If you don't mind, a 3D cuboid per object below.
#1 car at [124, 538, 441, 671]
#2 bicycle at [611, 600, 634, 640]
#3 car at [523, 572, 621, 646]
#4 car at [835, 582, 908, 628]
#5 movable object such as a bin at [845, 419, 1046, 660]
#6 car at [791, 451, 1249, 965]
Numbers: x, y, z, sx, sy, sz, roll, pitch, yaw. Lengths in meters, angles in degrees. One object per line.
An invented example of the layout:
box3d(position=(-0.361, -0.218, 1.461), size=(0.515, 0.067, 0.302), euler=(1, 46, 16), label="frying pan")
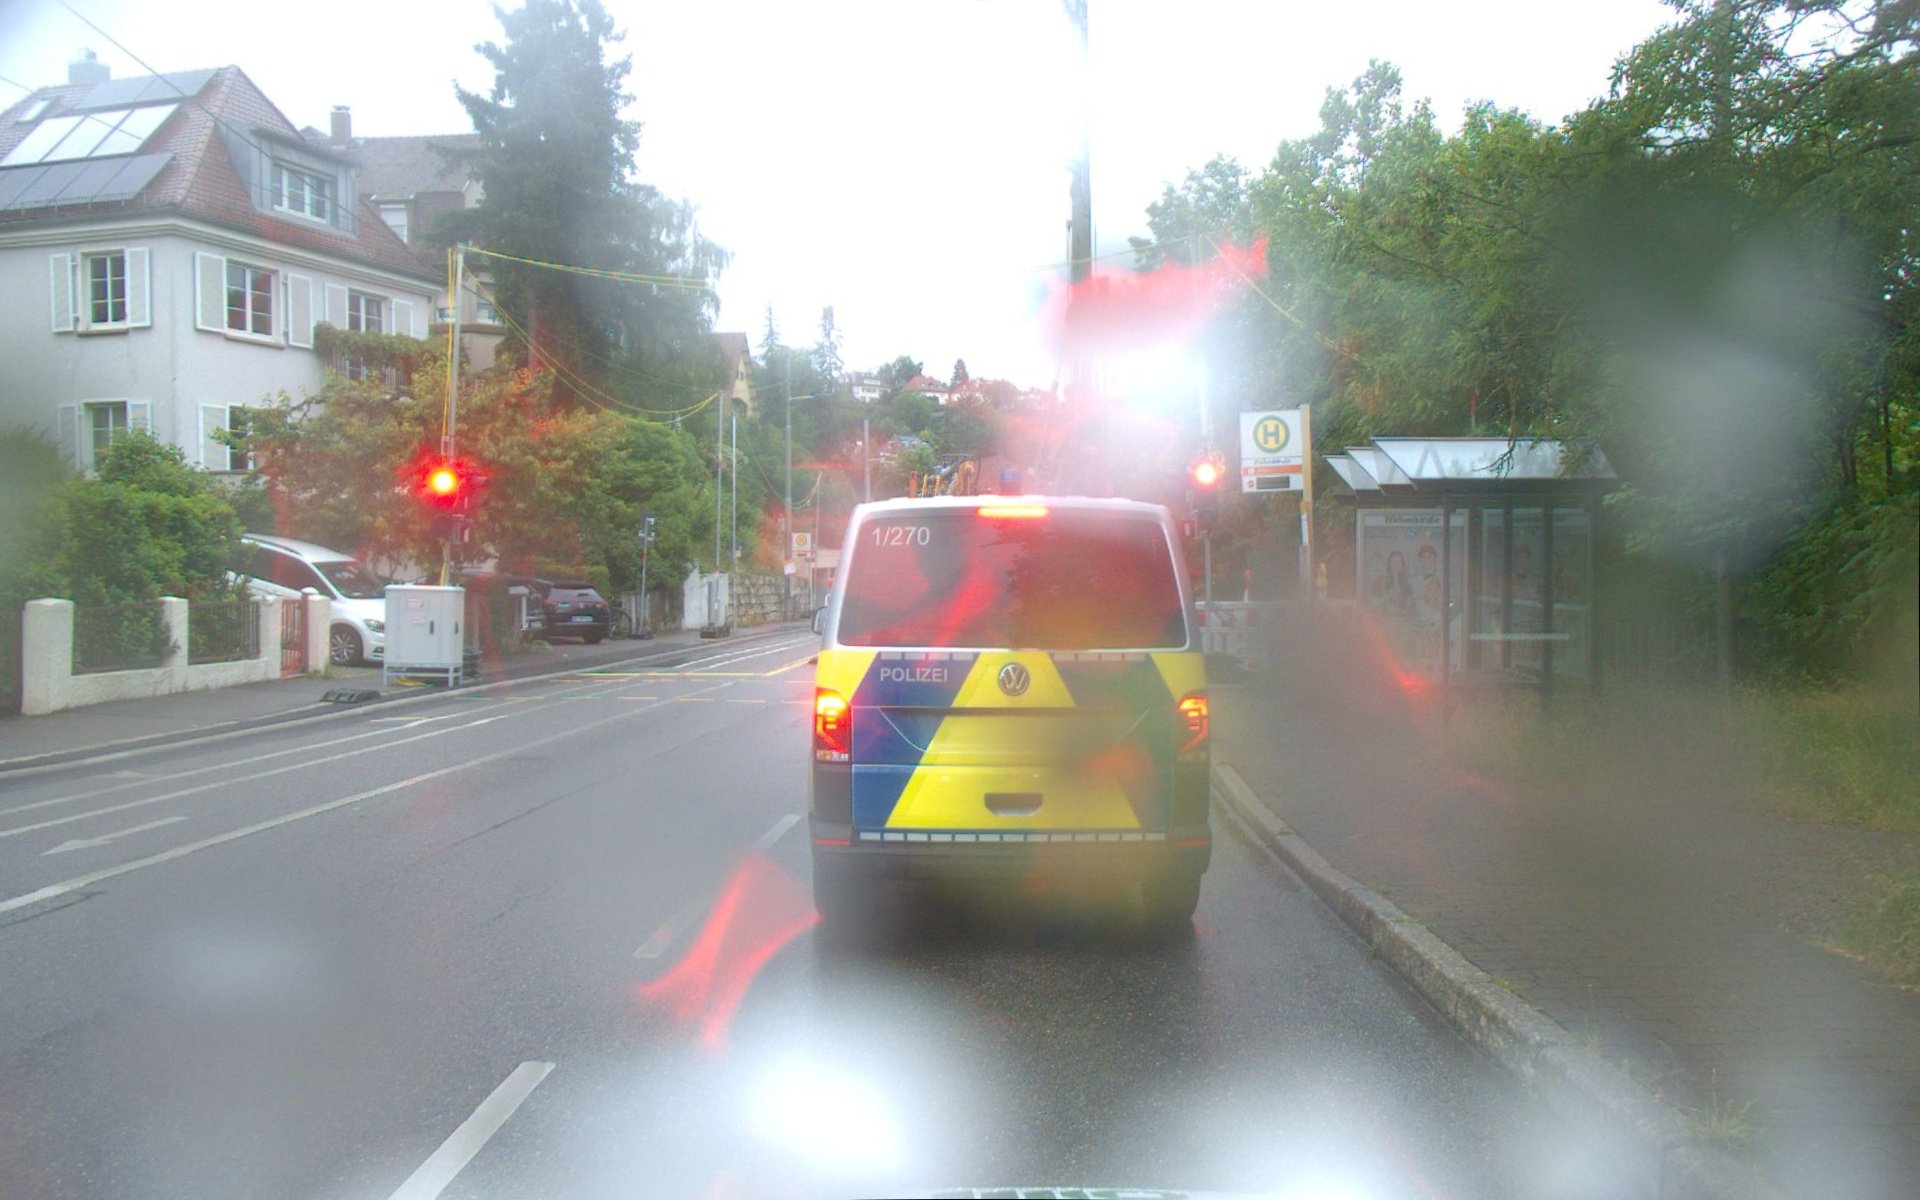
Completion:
box3d(position=(-11.214, 0.050, 27.488), size=(4.532, 2.042, 1.902), euler=(1, 0, 11), label="car")
box3d(position=(-8.060, 0.461, 39.453), size=(0.455, 0.913, 1.628), euler=(0, 0, -15), label="bicycle")
box3d(position=(-8.917, 0.170, 37.827), size=(1.739, 1.512, 3.721), euler=(1, 2, -20), label="car")
box3d(position=(-3.172, 0.187, 60.378), size=(1.813, 1.554, 4.823), euler=(1, 0, 7), label="car")
box3d(position=(-0.171, -1.097, 31.637), size=(2.770, 4.250, 4.384), euler=(1, 0, 14), label="movable object such as a bin")
box3d(position=(0.222, 0.435, 8.819), size=(1.855, 2.086, 3.999), euler=(1, 0, -1), label="car")
